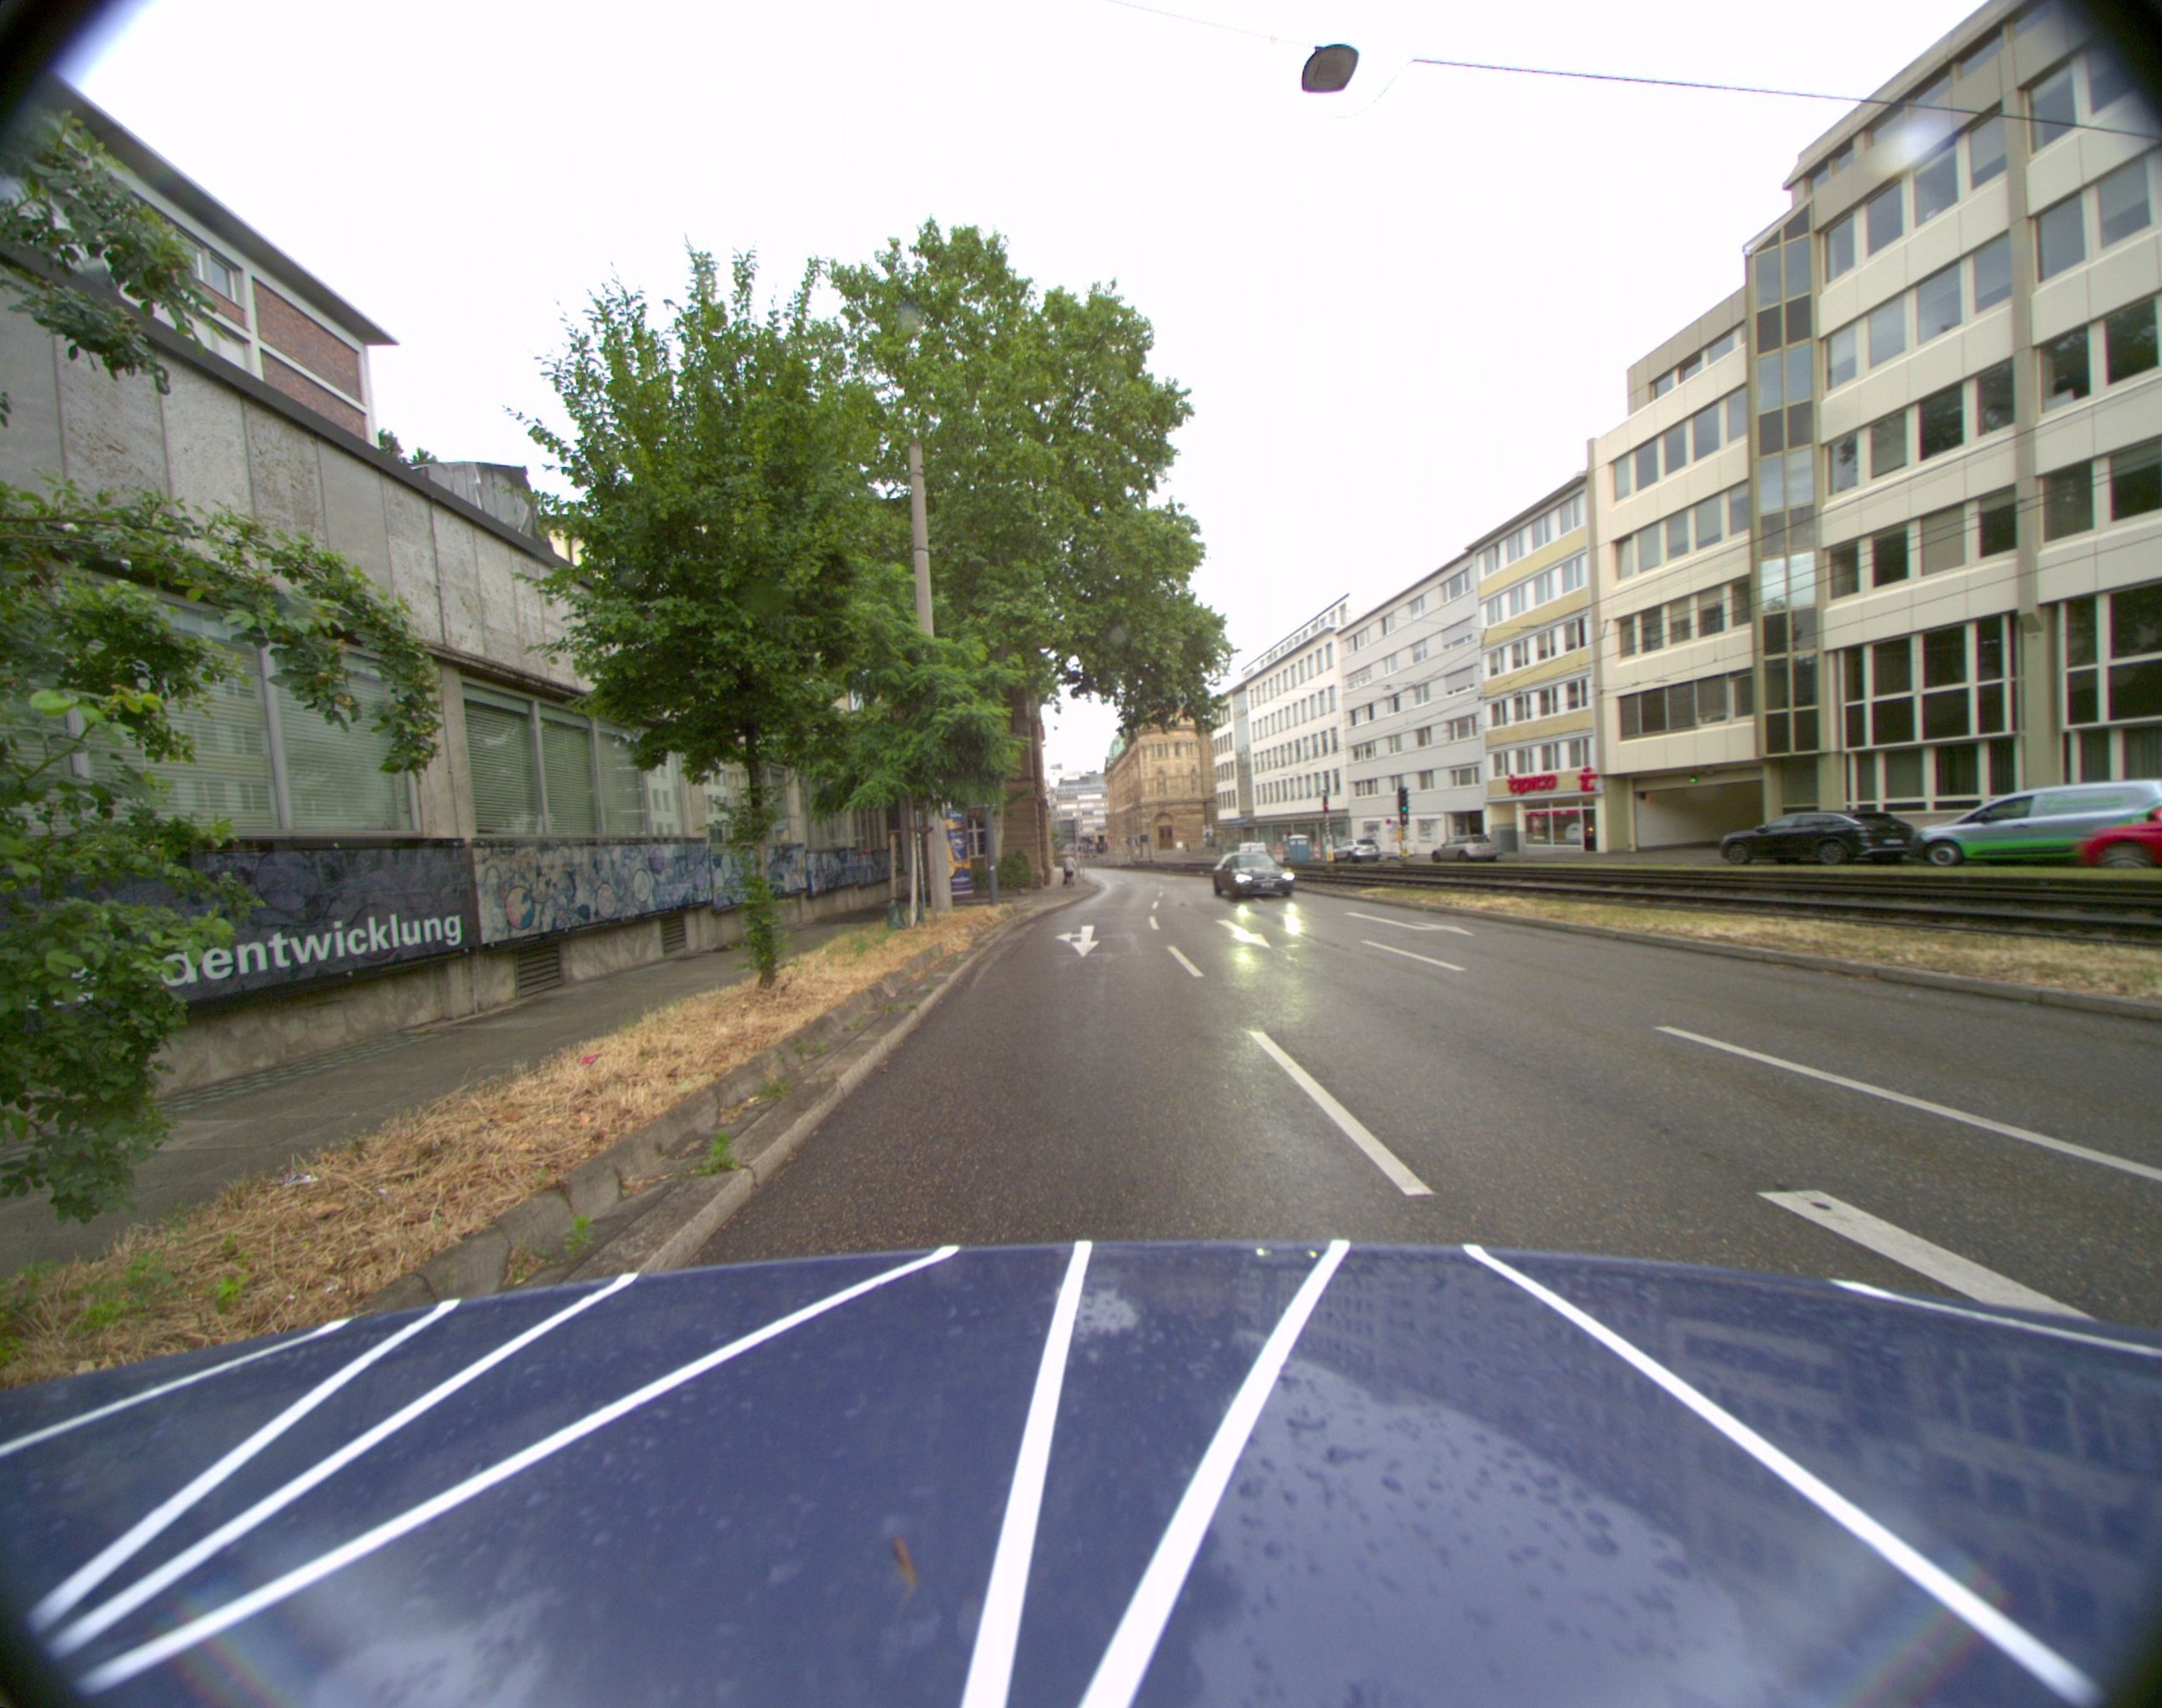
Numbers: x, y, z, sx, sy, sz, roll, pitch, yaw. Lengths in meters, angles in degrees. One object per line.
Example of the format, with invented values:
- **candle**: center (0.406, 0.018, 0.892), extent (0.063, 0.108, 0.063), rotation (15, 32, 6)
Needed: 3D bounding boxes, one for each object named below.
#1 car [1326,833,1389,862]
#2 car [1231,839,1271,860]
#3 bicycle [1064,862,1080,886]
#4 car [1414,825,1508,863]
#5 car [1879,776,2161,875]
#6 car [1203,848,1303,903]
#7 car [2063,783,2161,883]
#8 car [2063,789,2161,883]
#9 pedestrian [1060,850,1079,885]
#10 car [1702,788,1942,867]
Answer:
- **car**: center (18.323, -0.388, 50.614), extent (1.999, 1.664, 4.693), rotation (-6, 0, -4)
- **car**: center (16.377, -0.474, 73.344), extent (1.999, 1.832, 5.127), rotation (-6, 2, -7)
- **bicycle**: center (-0.473, 1.023, 39.446), extent (0.620, 1.213, 0.911), rotation (-2, 1, 12)
- **car**: center (19.448, -0.518, 39.145), extent (1.999, 1.664, 4.691), rotation (-6, 2, -7)
- **car**: center (21.506, -0.639, 17.009), extent (1.999, 1.840, 4.691), rotation (-6, 2, -7)
- **car**: center (5.462, 0.644, 24.751), extent (1.999, 1.458, 4.642), rotation (-5, 0, -1)
- **car**: center (19.260, -0.394, 11.837), extent (1.987, 1.631, 4.412), rotation (-5, 1, -10)
- **car**: center (19.204, -0.333, 11.838), extent (1.999, 1.479, 4.323), rotation (-6, 2, -7)
- **pedestrian**: center (-0.584, 0.696, 38.467), extent (0.719, 1.732, 1.020), rotation (-1, 1, 11)
- **car**: center (21.088, -0.730, 21.972), extent (1.999, 1.840, 4.691), rotation (-6, 2, -7)
